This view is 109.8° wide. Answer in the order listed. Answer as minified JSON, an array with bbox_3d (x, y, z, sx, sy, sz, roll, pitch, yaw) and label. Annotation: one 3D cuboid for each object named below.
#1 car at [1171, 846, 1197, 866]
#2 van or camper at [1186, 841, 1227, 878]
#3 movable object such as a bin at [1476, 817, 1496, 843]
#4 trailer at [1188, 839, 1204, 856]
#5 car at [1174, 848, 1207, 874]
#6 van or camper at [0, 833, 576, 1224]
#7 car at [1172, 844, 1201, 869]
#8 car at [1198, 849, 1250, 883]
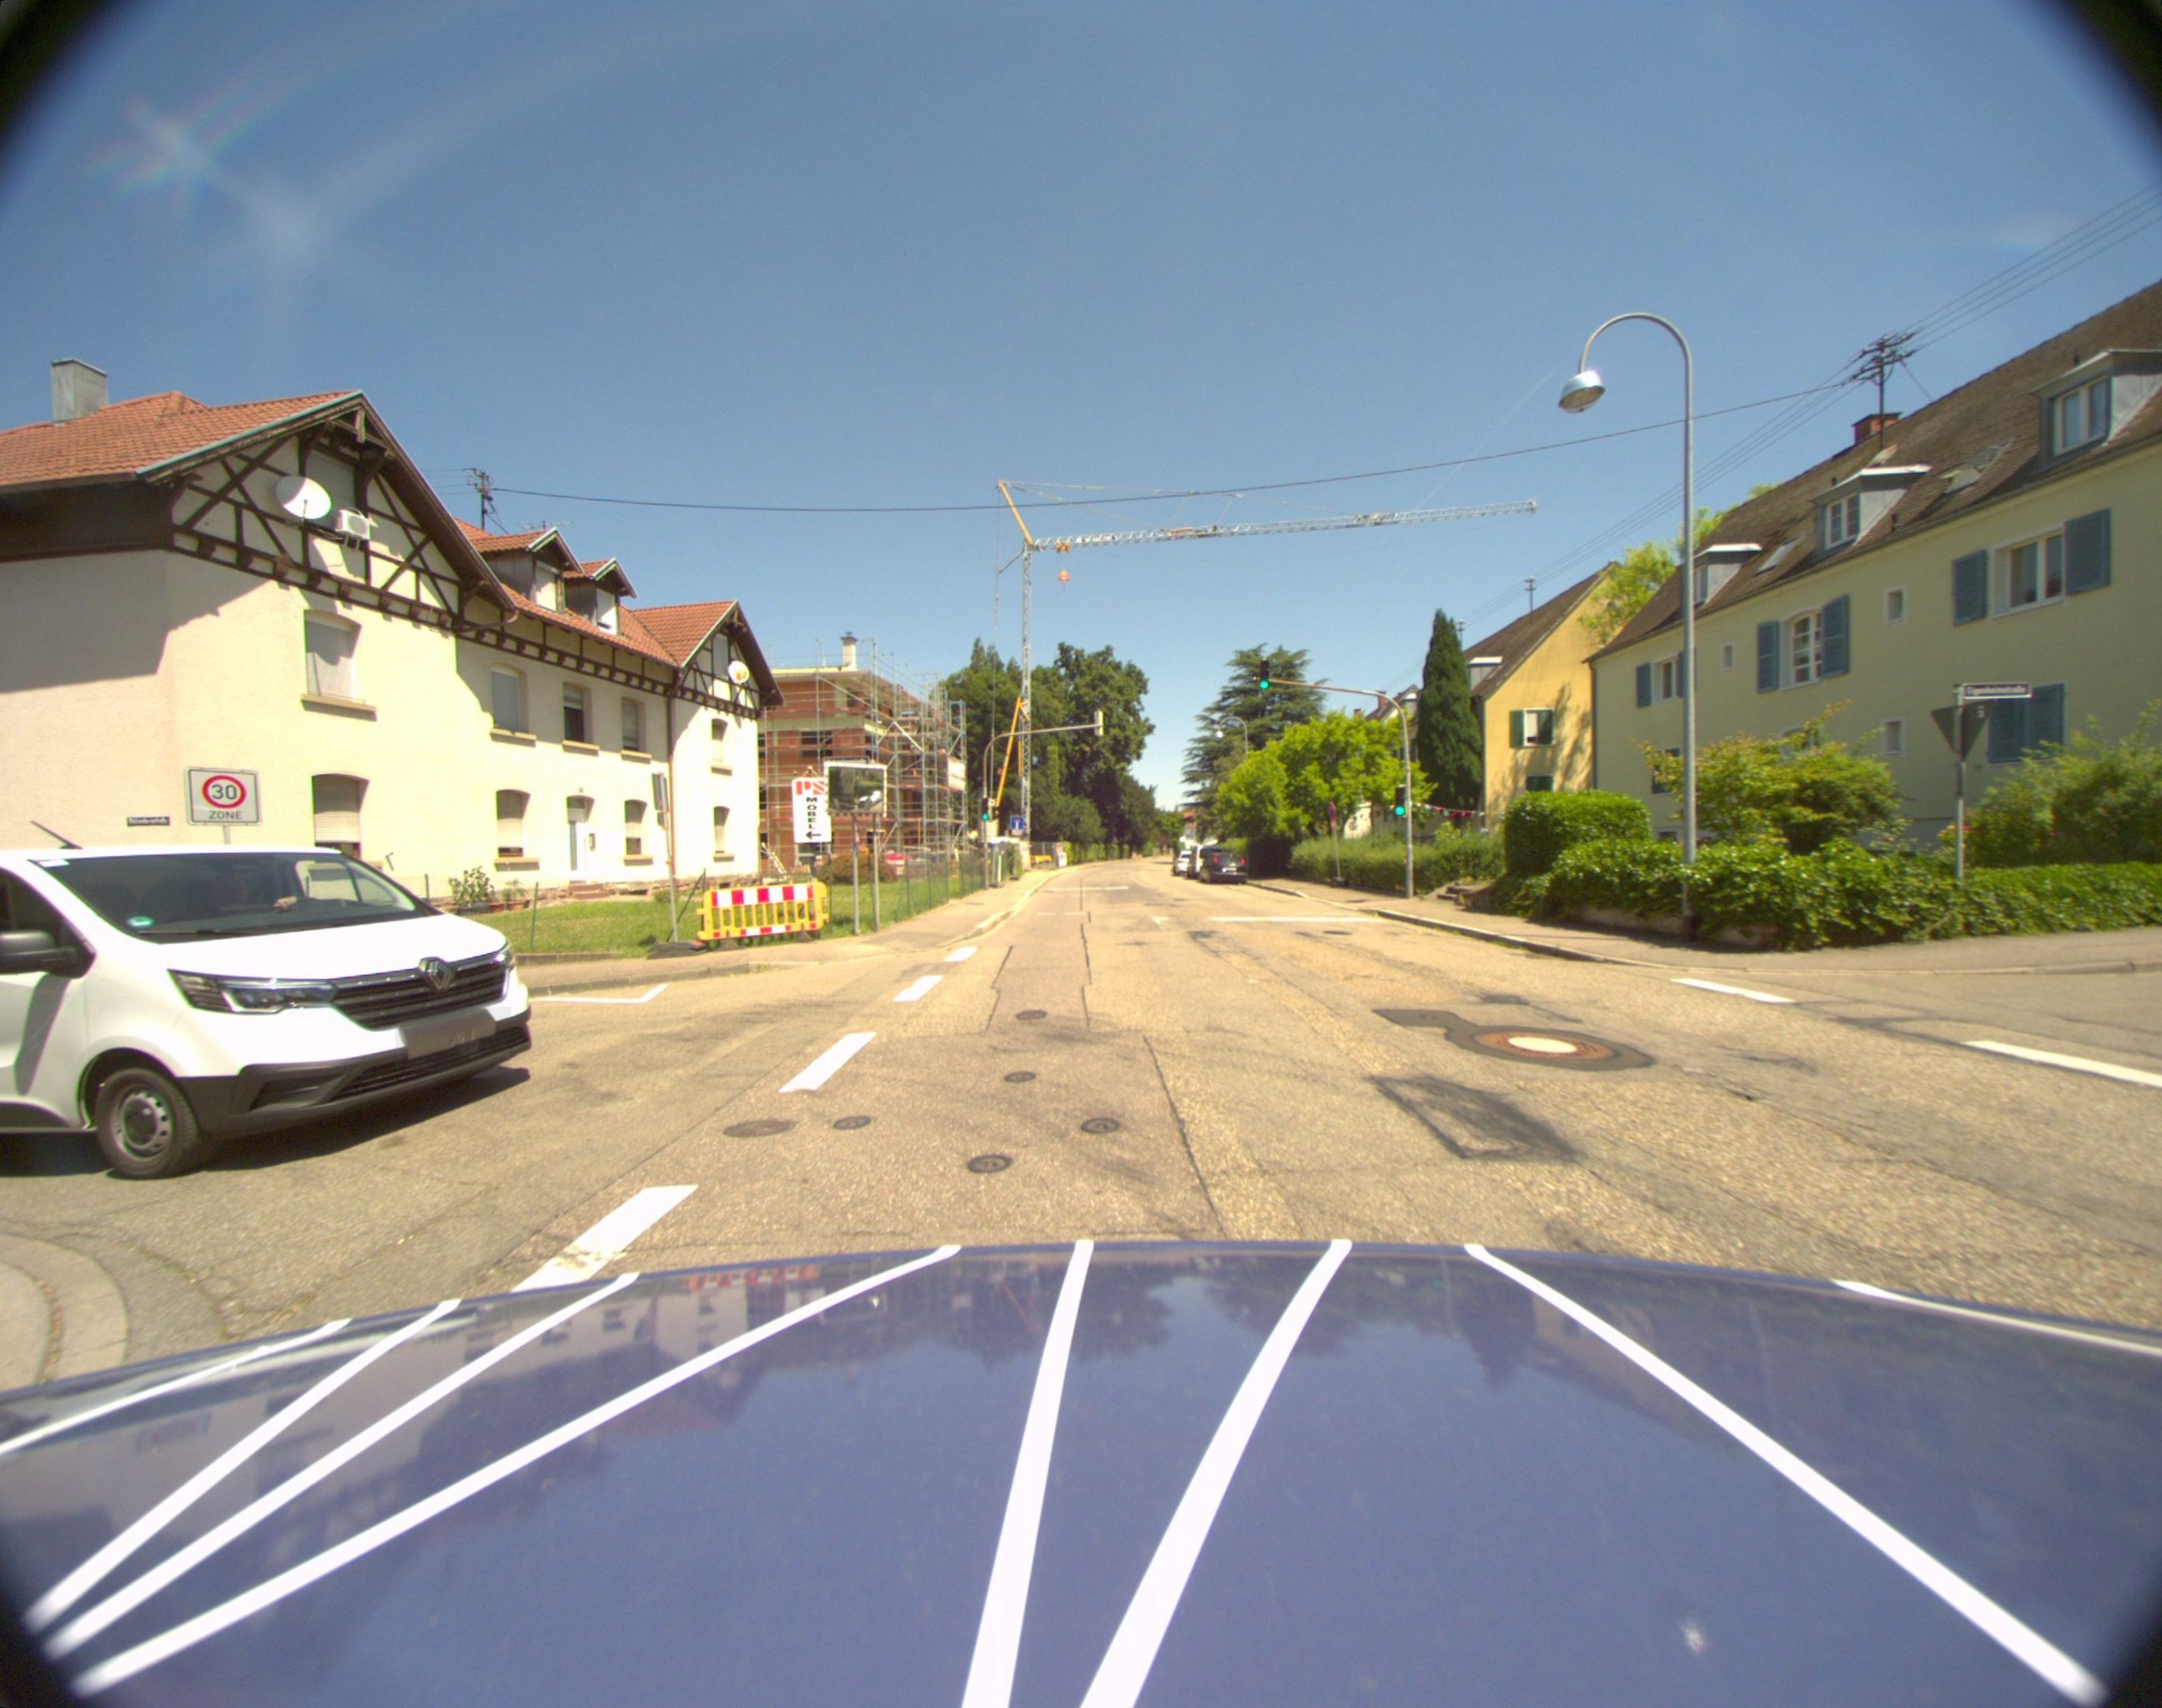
[{"bbox_3d":[7.730,0.123,57.244,1.684,1.467,4.331,1,1,5],"label":"car"},{"bbox_3d":[6.500,0.262,39.623,1.685,1.794,3.986,1,1,3],"label":"van or camper"},{"bbox_3d":[18.872,-1.093,35.406,0.622,1.189,0.674,-1,1,3],"label":"movable object such as a bin"},{"bbox_3d":[14.277,-0.824,94.194,1.817,2.021,4.003,2,1,10],"label":"trailer"},{"bbox_3d":[6.416,0.354,44.961,1.684,1.433,4.248,1,1,5],"label":"car"},{"bbox_3d":[-6.758,1.016,5.262,5.354,1.968,2.001,-3,2,9],"label":"van or camper"},{"bbox_3d":[7.144,0.145,51.814,1.684,1.627,4.331,1,1,5],"label":"car"},{"bbox_3d":[6.460,0.517,34.721,1.685,1.404,3.926,1,1,1],"label":"car"}]
